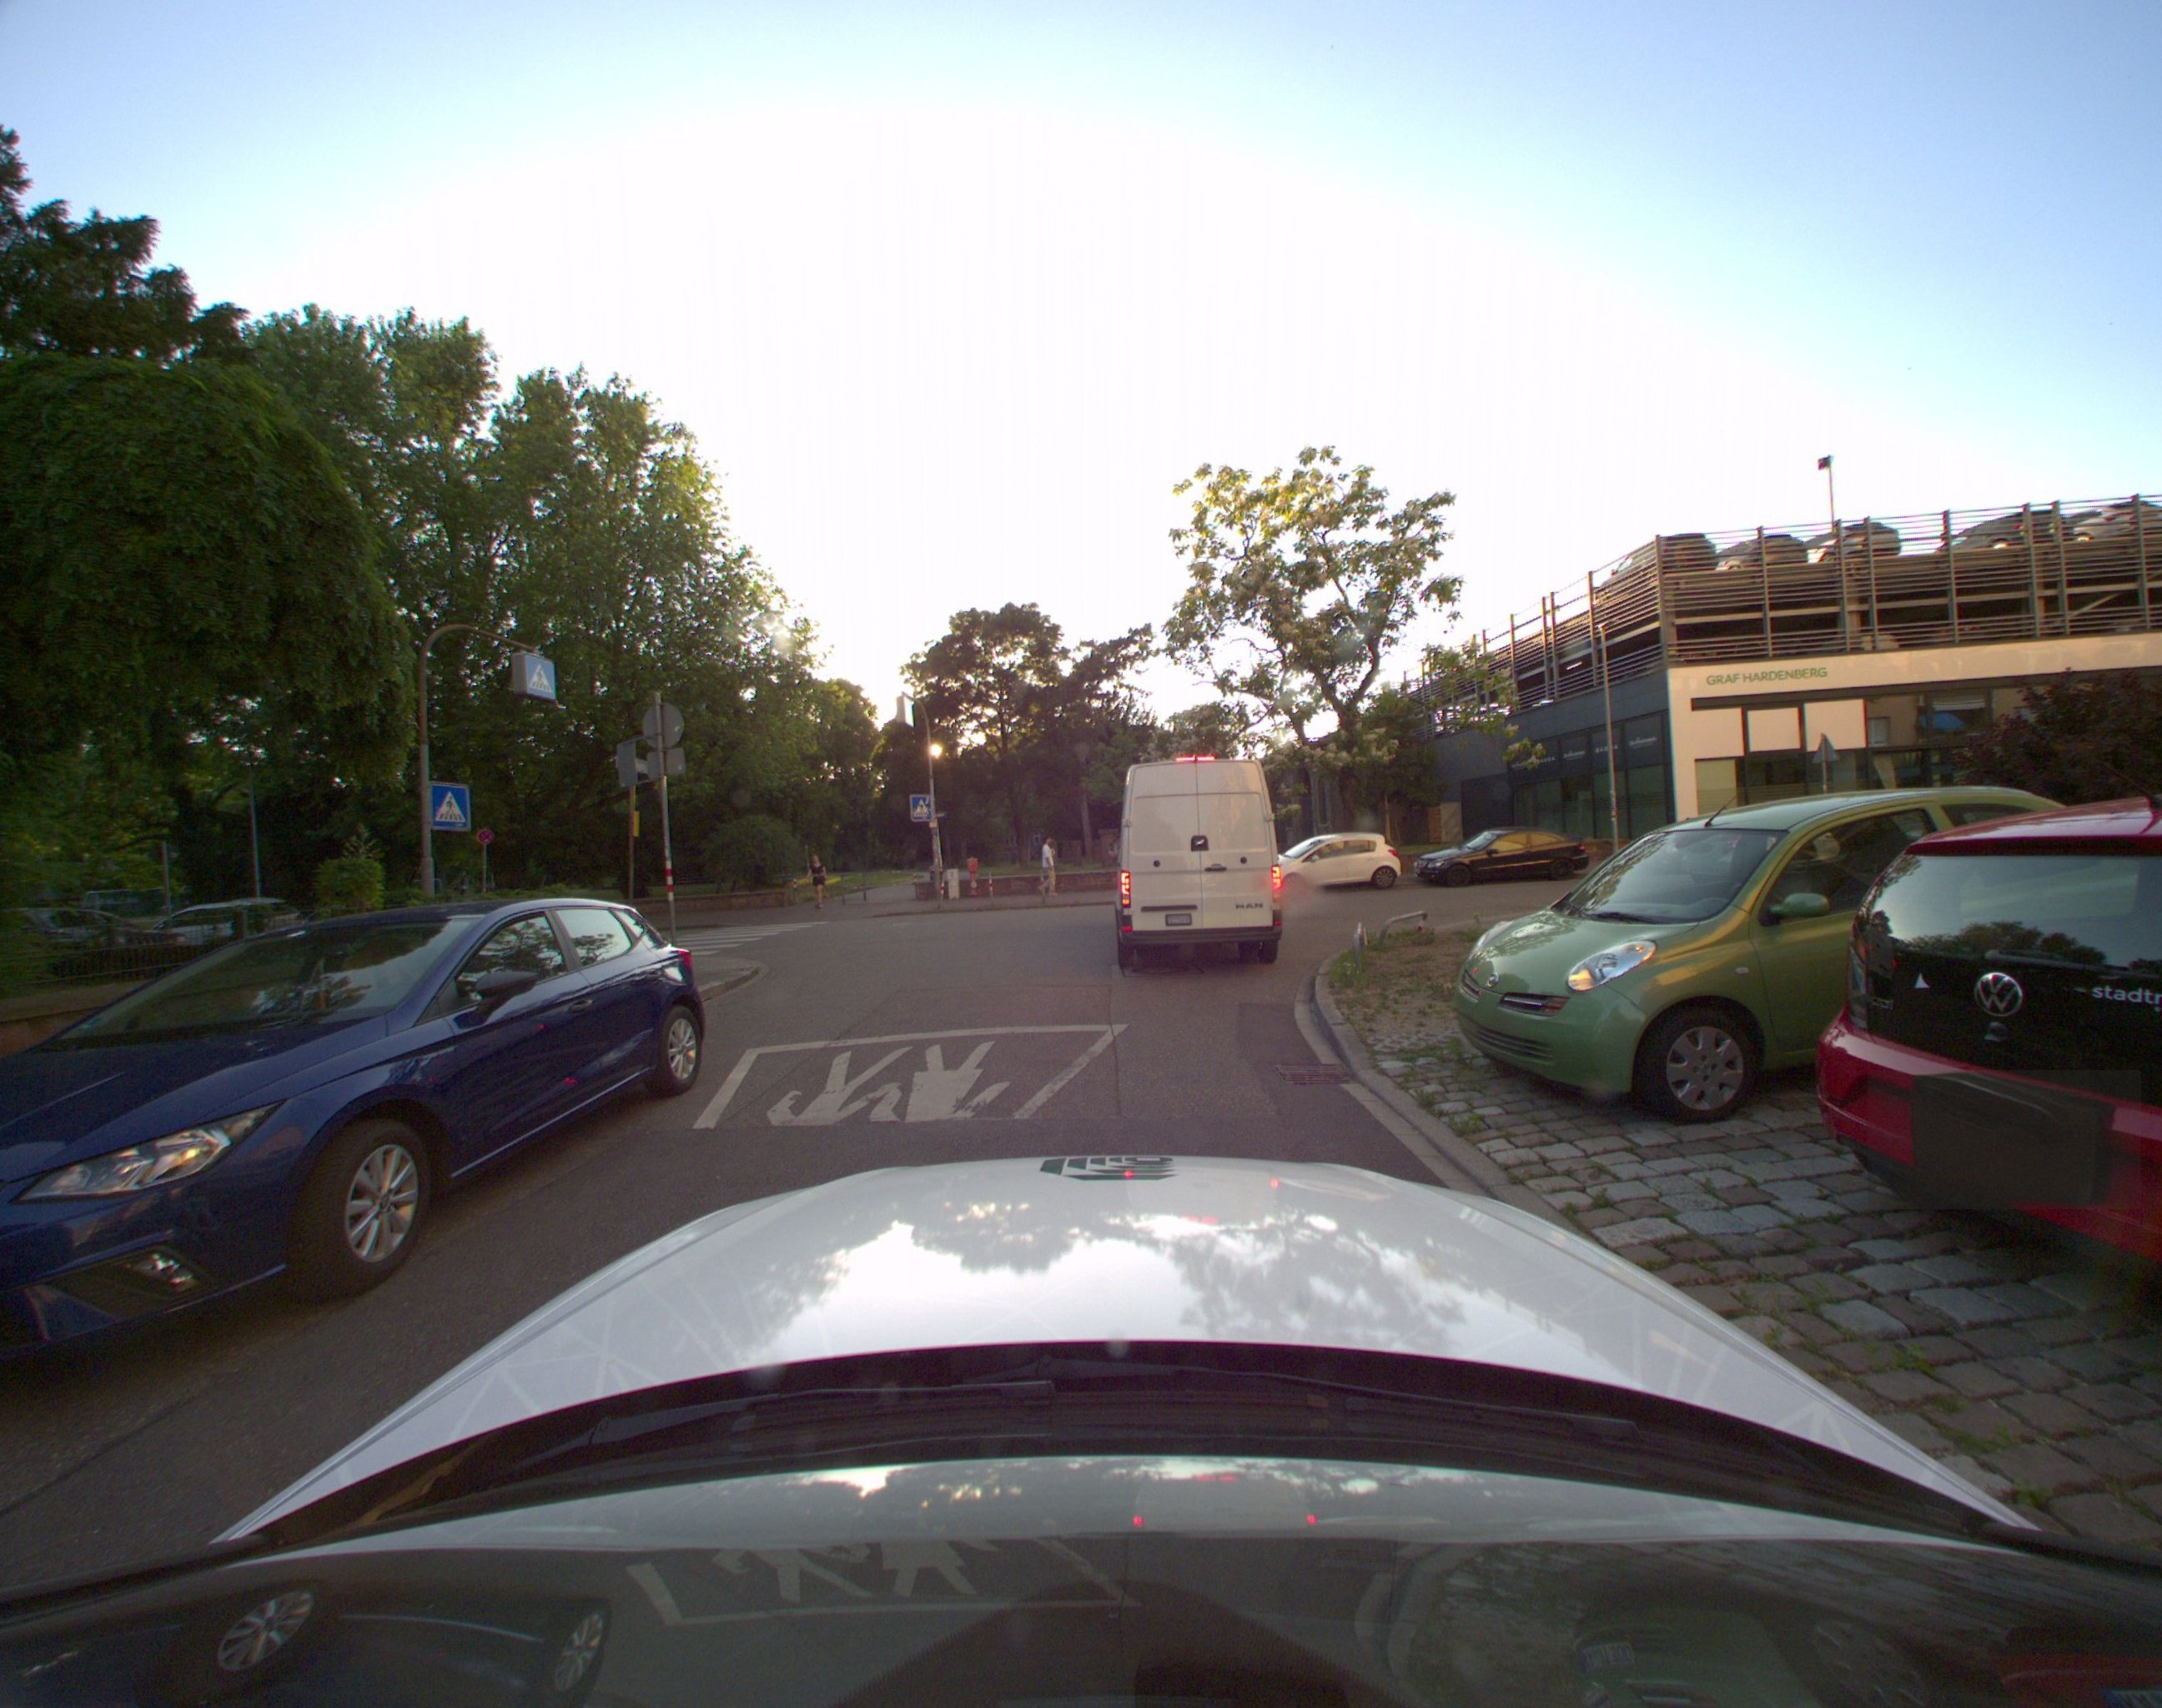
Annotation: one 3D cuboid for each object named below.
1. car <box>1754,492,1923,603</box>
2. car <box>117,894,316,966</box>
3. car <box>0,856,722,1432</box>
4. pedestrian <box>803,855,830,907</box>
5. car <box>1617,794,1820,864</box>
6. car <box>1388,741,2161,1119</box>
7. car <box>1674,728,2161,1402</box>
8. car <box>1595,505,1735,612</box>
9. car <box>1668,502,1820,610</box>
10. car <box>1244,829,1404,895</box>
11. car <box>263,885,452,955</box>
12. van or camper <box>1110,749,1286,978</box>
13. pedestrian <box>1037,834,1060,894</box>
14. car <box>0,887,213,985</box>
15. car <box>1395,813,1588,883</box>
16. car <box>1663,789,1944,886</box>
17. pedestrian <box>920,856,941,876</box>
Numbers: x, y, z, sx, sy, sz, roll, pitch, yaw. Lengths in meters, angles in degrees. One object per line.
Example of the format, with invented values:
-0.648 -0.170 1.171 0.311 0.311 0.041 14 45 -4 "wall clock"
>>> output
24.515 -9.872 26.591 1.984 2.013 4.007 -2 0 6 "car"
-25.647 2.234 24.262 3.852 1.562 1.826 -4 6 3 "car"
-3.537 0.872 4.169 1.729 1.567 3.787 -5 0 -3 "car"
-8.524 0.864 26.278 0.646 1.648 0.672 -1 0 -7 "pedestrian"
16.843 -0.644 21.682 3.819 1.503 1.826 -4 0 4 "car"
4.494 0.348 5.052 4.392 1.631 1.844 -5 -2 -2 "car"
4.772 0.261 2.492 4.386 1.631 1.847 -7 0 2 "car"
19.228 -9.680 27.059 1.984 2.013 4.007 -2 0 6 "car"
21.793 -9.760 27.018 1.984 2.013 4.007 -2 0 6 "car"
6.679 0.195 22.686 3.844 1.574 1.957 -3 0 -2 "car"
-20.944 1.895 23.678 3.832 1.491 1.828 -4 6 7 "car"
1.523 0.096 12.516 1.985 2.618 6.409 0 0 3 "van or camper"
-1.008 0.309 25.179 0.591 1.809 0.621 -2 0 2 "pedestrian"
-21.485 1.761 17.286 4.212 1.799 1.824 -4 -3 2 "car"
11.108 -0.162 22.286 4.273 1.503 1.826 -4 0 4 "car"
14.270 -0.314 16.282 3.819 1.523 1.826 -4 0 4 "car"
-11.487 0.882 62.304 1.324 1.444 1.046 -3 0 -1 "pedestrian"
